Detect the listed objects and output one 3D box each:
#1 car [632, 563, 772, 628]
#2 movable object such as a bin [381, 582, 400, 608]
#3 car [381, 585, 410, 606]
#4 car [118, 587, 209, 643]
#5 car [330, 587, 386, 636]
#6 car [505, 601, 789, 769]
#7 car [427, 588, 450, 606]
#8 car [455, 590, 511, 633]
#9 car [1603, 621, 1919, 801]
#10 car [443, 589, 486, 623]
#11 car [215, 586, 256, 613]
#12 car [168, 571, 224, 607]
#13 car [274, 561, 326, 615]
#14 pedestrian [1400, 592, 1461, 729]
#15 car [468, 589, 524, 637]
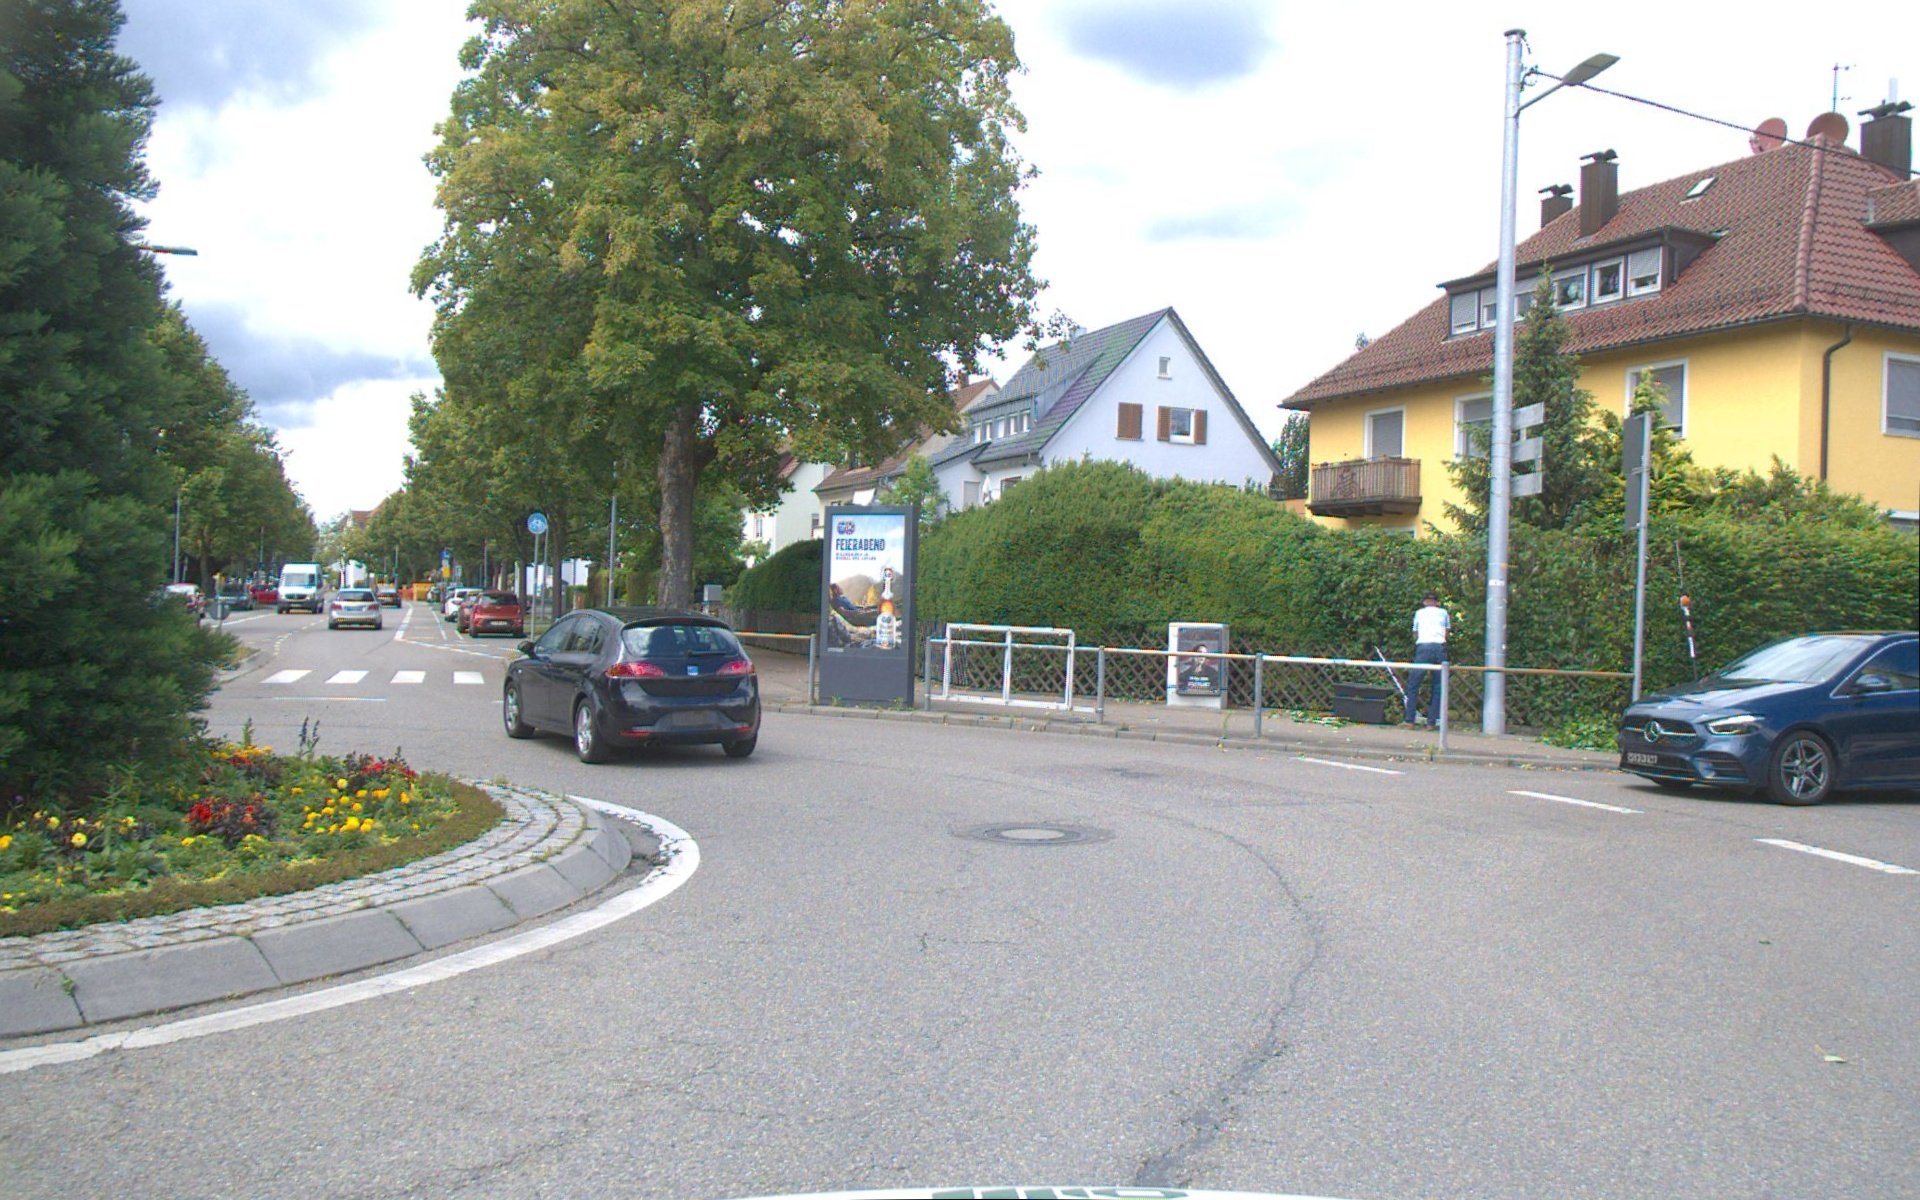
[{"bbox_3d":[-11.096,-0.189,71.152,5.637,2.637,1.984,1,1,-24],"label":"car"},{"bbox_3d":[-58.789,-0.481,170.641,1.743,2.619,3.716,1,0,-21],"label":"movable object such as a bin"},{"bbox_3d":[-38.807,-0.335,113.700,1.784,1.399,3.670,1,0,-21],"label":"car"},{"bbox_3d":[-20.807,0.371,43.312,1.548,1.386,3.725,1,0,-17],"label":"car"},{"bbox_3d":[-22.189,0.401,60.915,1.878,1.715,3.716,0,0,-21],"label":"car"},{"bbox_3d":[-3.293,0.765,16.859,1.799,1.463,3.704,0,0,-29],"label":"car"},{"bbox_3d":[-44.691,-0.278,141.702,1.680,1.480,4.590,0,0,-20],"label":"car"},{"bbox_3d":[-16.980,0.379,58.728,1.628,1.440,4.152,0,1,-20],"label":"car"},{"bbox_3d":[8.247,1.001,15.249,4.237,1.474,1.576,2,0,-17],"label":"car"},{"bbox_3d":[-22.219,0.258,74.118,1.628,1.440,4.152,0,1,-20],"label":"car"},{"bbox_3d":[-41.461,-0.059,94.741,1.704,1.494,4.280,0,0,-18],"label":"car"},{"bbox_3d":[-34.118,-0.494,73.952,1.658,1.568,4.113,1,0,-17],"label":"car"},{"bbox_3d":[-35.298,-0.650,88.565,1.987,2.721,5.779,1,0,-17],"label":"car"},{"bbox_3d":[5.928,0.753,20.831,0.639,1.685,0.594,1,0,23],"label":"pedestrian"},{"bbox_3d":[-15.024,0.435,53.454,1.541,1.481,3.648,1,-1,-19],"label":"car"}]
